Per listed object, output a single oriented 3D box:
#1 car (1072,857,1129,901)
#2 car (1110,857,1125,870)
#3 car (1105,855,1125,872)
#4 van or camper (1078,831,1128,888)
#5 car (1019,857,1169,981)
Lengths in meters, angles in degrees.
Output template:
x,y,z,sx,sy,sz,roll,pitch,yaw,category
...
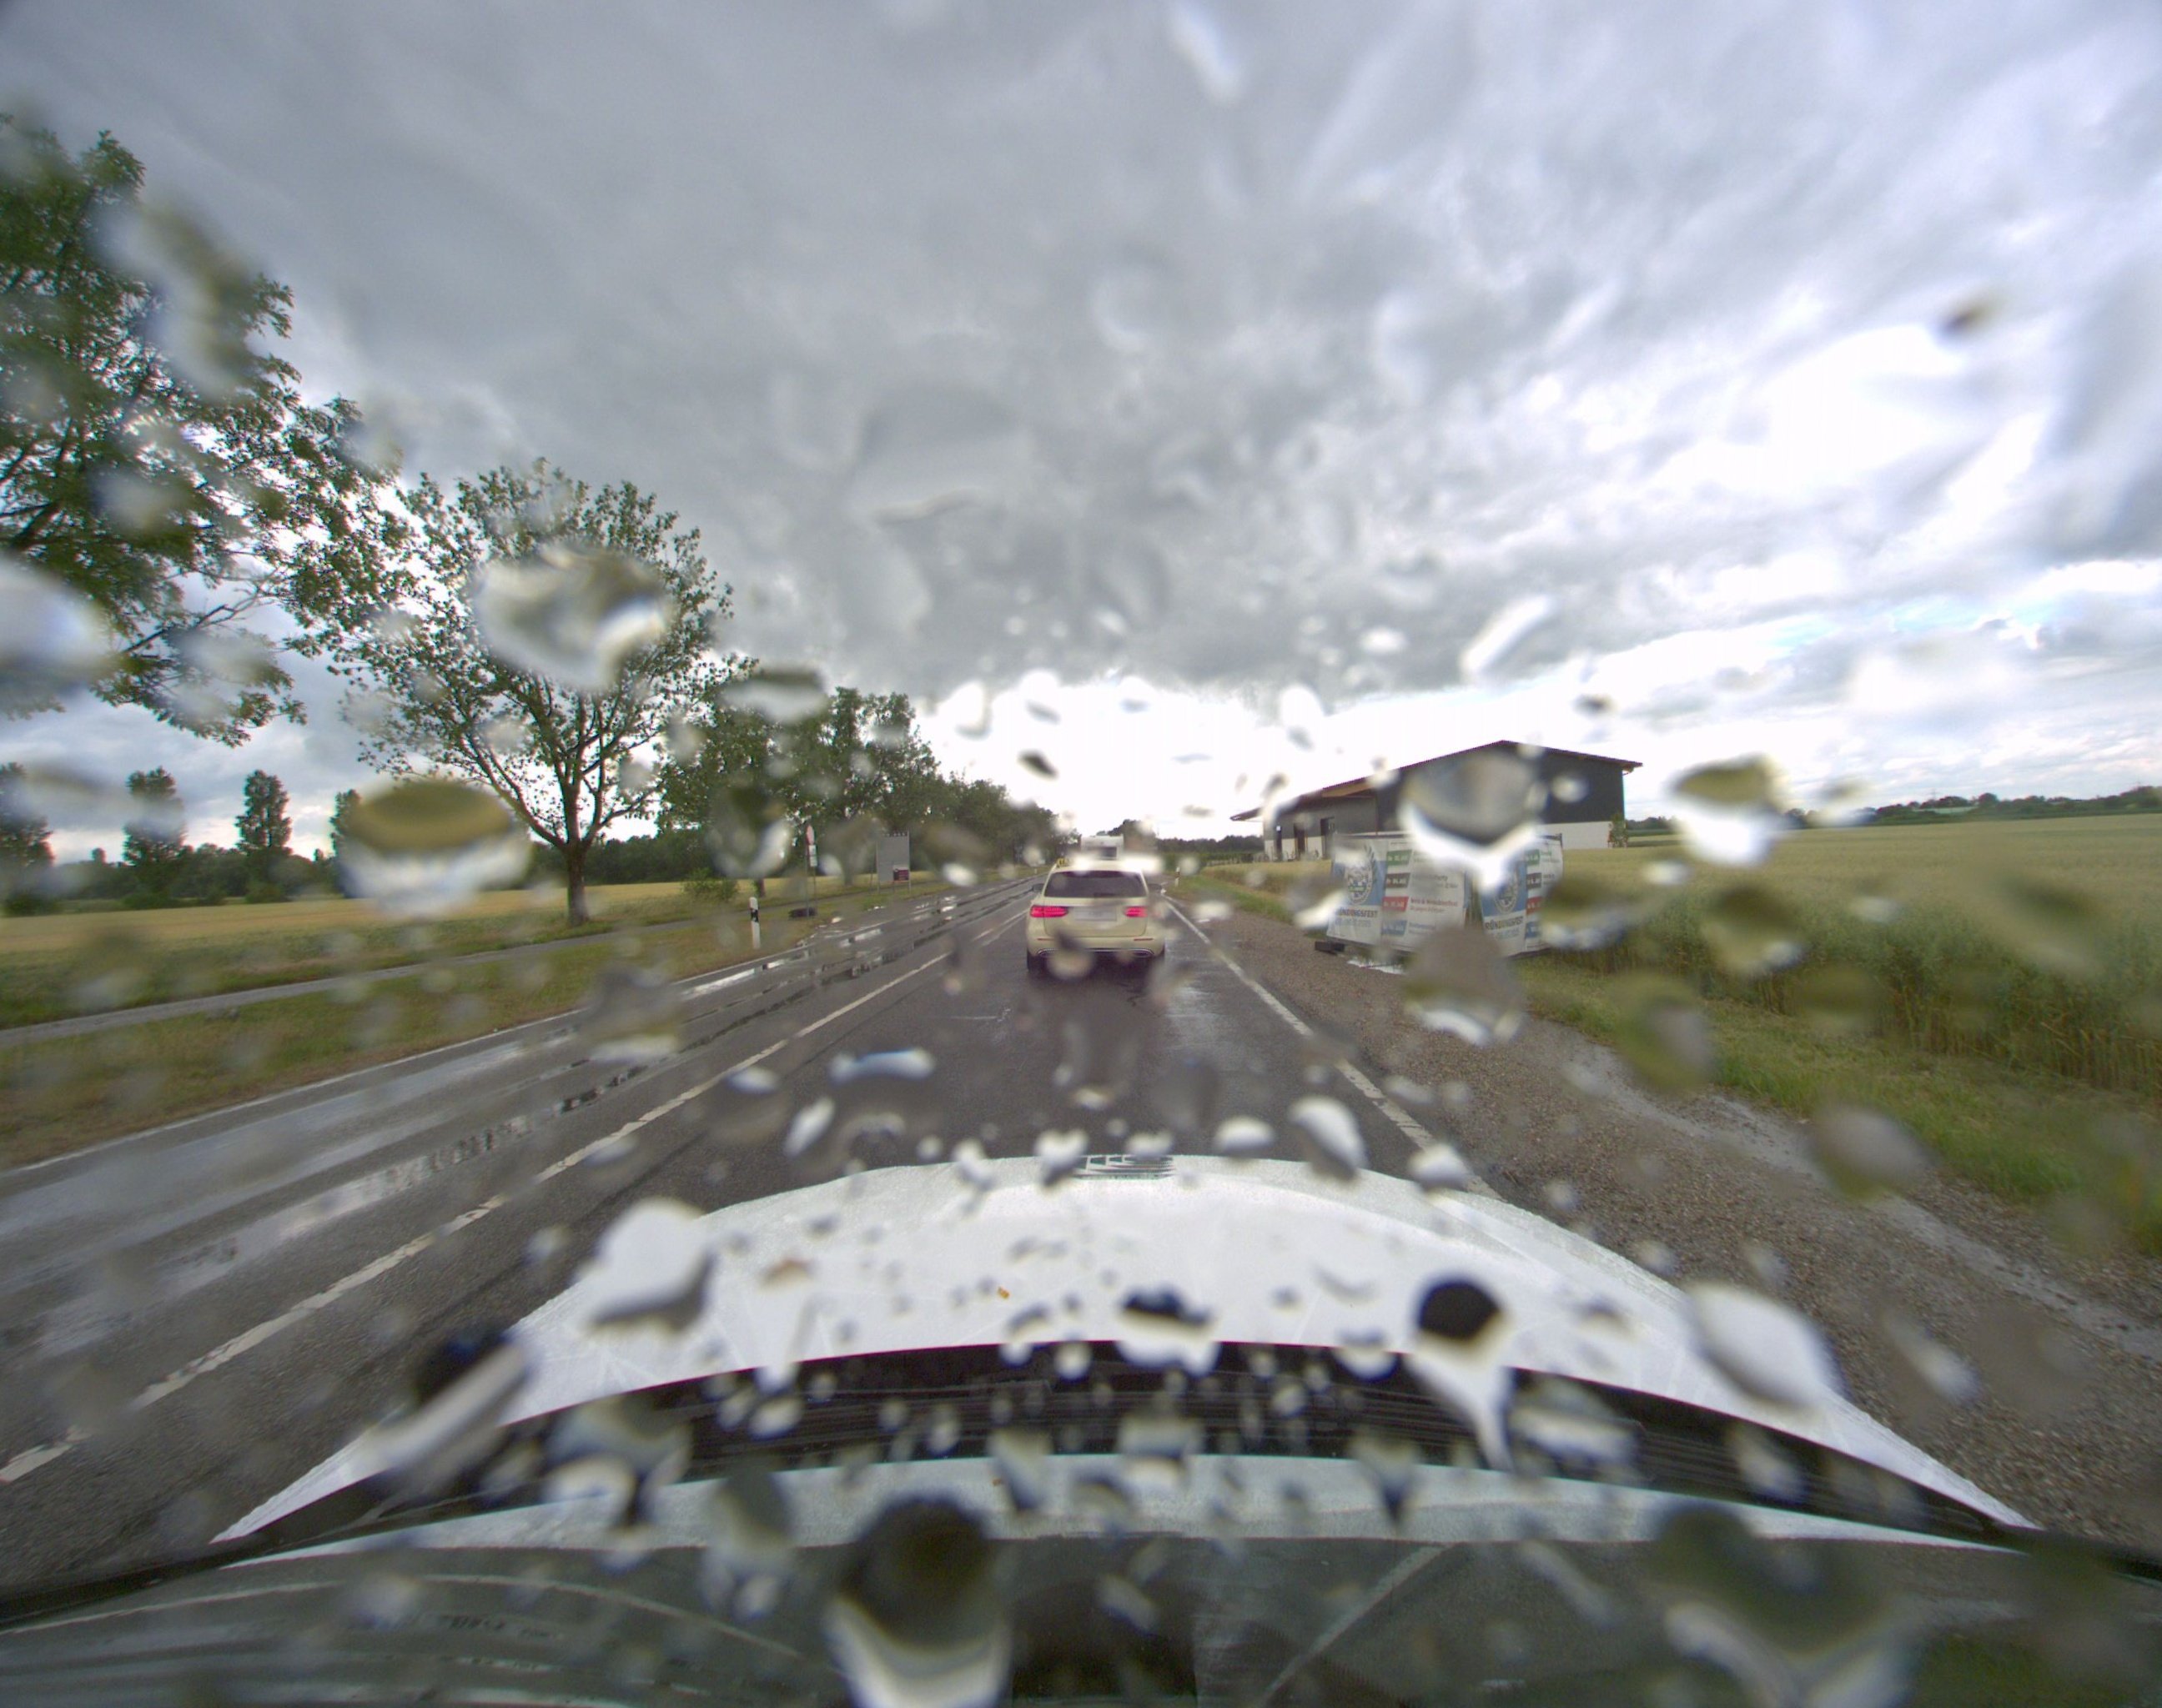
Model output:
x,y,z,sx,sy,sz,roll,pitch,yaw,category
0.722,0.856,29.609,1.887,1.429,3.929,-1,0,2,car
4.743,1.219,105.723,1.886,1.590,3.932,-1,0,4,car
3.241,0.893,78.281,1.887,1.590,3.929,-1,0,2,car
1.294,0.316,45.469,2.486,2.831,5.938,-3,-1,3,van or camper
0.246,0.792,11.872,1.790,1.464,4.033,-1,0,3,car
